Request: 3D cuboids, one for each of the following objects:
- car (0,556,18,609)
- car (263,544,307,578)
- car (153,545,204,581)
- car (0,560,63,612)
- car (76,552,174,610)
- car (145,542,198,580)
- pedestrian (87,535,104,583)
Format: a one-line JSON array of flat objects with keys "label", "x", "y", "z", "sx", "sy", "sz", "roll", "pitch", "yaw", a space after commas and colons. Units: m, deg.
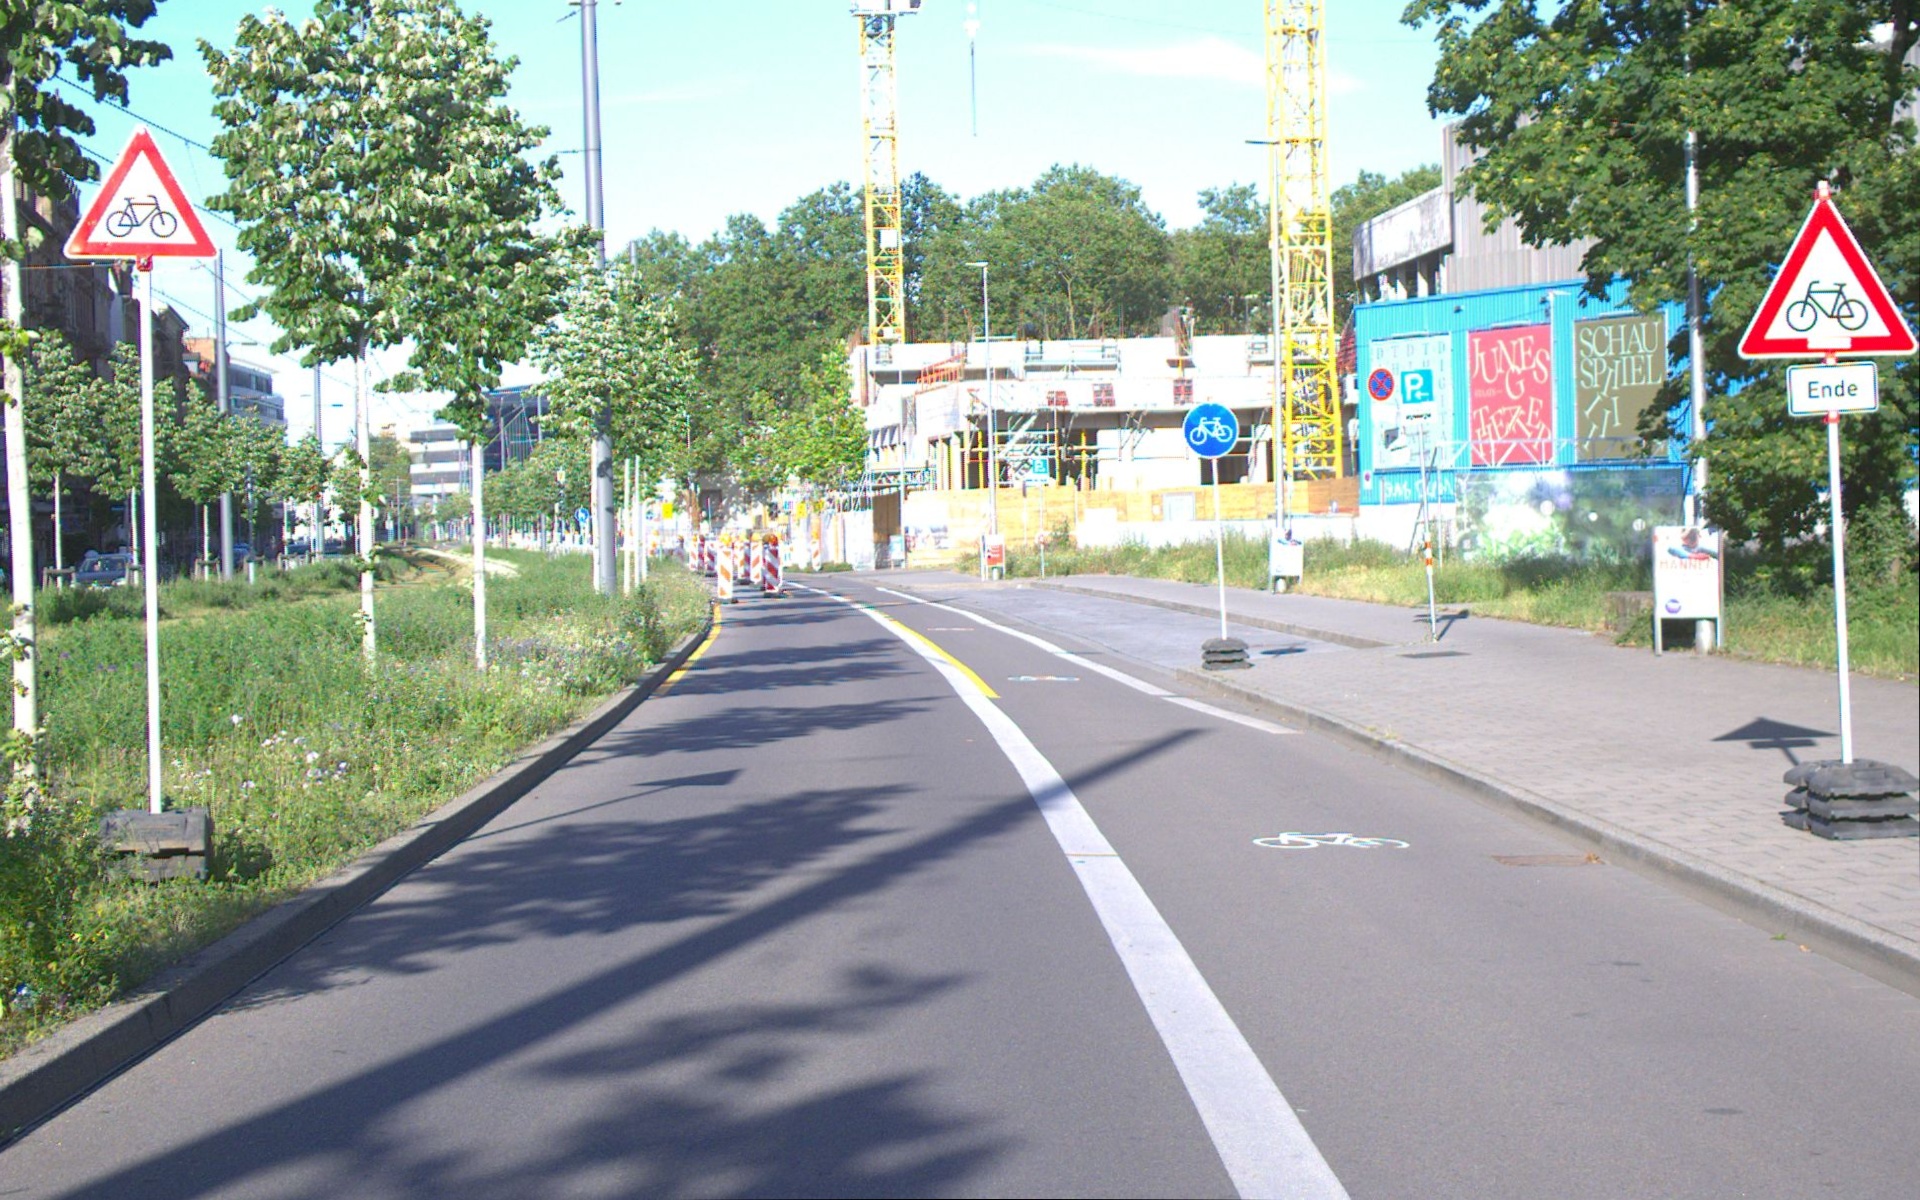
[{"label": "car", "x": -29.926, "y": -0.487, "z": 103.779, "sx": 1.903, "sy": 1.570, "sz": 4.302, "roll": -2, "pitch": 1, "yaw": -2}, {"label": "car", "x": -33.275, "y": -1.930, "z": 169.599, "sx": 1.903, "sy": 1.570, "sz": 4.302, "roll": -2, "pitch": 1, "yaw": -9}, {"label": "car", "x": -35.389, "y": -1.695, "z": 155.704, "sx": 1.903, "sy": 1.570, "sz": 4.302, "roll": -2, "pitch": 1, "yaw": -9}, {"label": "car", "x": -30.576, "y": -0.452, "z": 111.536, "sx": 1.903, "sy": 1.570, "sz": 4.302, "roll": -2, "pitch": 1, "yaw": -2}, {"label": "car", "x": -24.346, "y": -0.580, "z": 100.369, "sx": 1.903, "sy": 1.570, "sz": 4.302, "roll": -2, "pitch": 1, "yaw": -2}, {"label": "car", "x": -34.625, "y": -1.724, "z": 150.970, "sx": 1.903, "sy": 1.570, "sz": 4.302, "roll": -2, "pitch": 1, "yaw": -9}, {"label": "pedestrian", "x": -35.283, "y": -1.673, "z": 140.345, "sx": 0.550, "sy": 1.940, "sz": 0.650, "roll": -2, "pitch": 1, "yaw": -10}]
